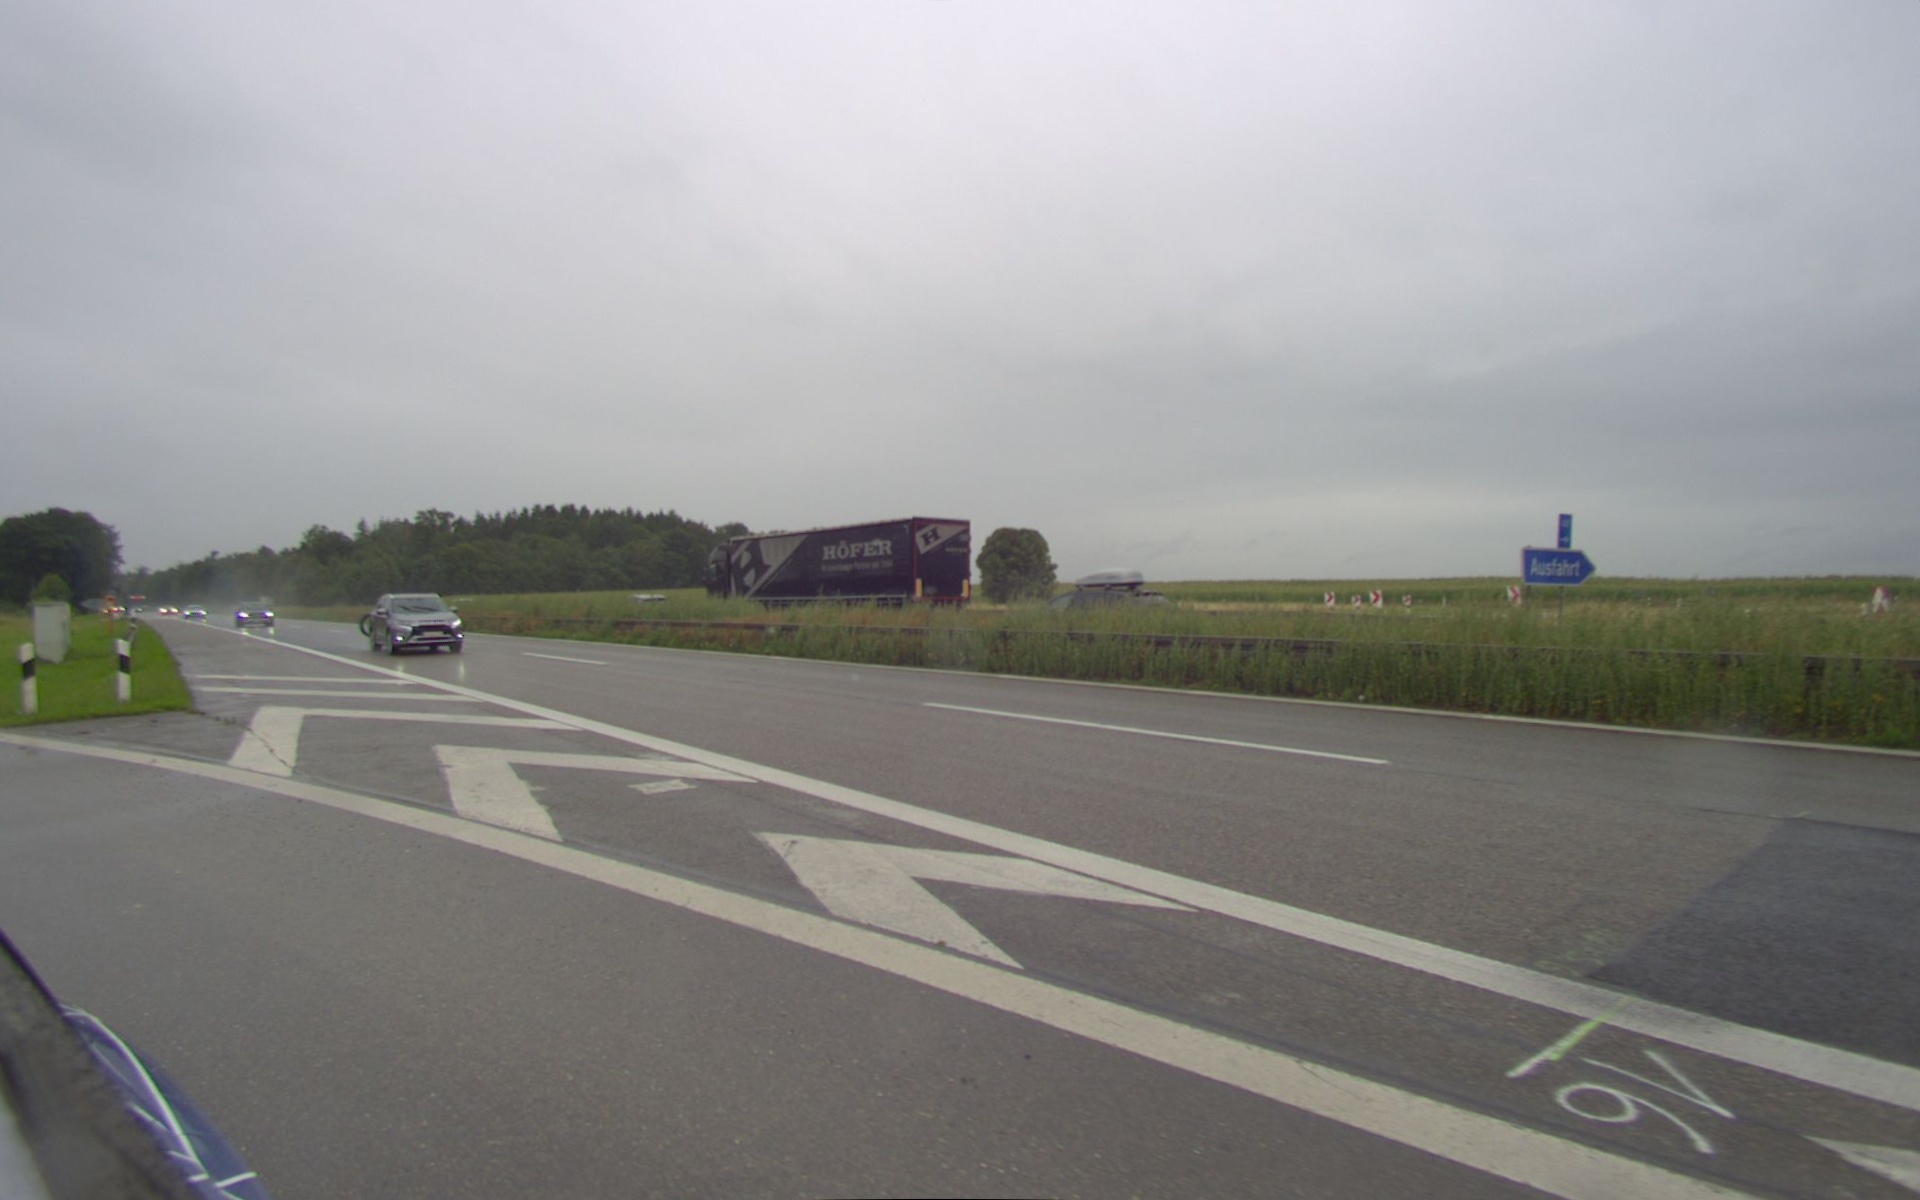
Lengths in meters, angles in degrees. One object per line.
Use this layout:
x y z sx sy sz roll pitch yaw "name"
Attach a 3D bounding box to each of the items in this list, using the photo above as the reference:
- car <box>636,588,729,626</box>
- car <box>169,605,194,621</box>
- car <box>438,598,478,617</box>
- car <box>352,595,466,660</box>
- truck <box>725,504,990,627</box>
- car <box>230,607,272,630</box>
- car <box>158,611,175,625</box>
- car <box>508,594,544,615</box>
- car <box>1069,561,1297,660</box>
-11.645 0.294 42.288 2.078 1.445 4.540 -3 1 -39 "car"
-86.012 1.431 111.808 2.118 1.648 4.604 0 0 -39 "car"
-42.950 0.633 86.574 2.078 1.551 4.540 -3 1 -39 "car"
-15.795 0.736 28.875 1.839 1.646 5.109 -1 1 -40 "car"
-4.553 -1.163 39.366 3.154 3.996 13.840 -4 2 -38 "truck"
-47.681 1.226 68.025 2.067 1.465 4.604 0 0 -38 "car"
-127.880 2.933 163.073 1.967 2.029 4.650 2 -3 -36 "car"
-39.232 0.411 91.375 1.709 1.749 4.005 -3 1 -42 "car"
4.764 0.192 22.180 2.078 1.889 4.540 -3 1 -39 "car"
